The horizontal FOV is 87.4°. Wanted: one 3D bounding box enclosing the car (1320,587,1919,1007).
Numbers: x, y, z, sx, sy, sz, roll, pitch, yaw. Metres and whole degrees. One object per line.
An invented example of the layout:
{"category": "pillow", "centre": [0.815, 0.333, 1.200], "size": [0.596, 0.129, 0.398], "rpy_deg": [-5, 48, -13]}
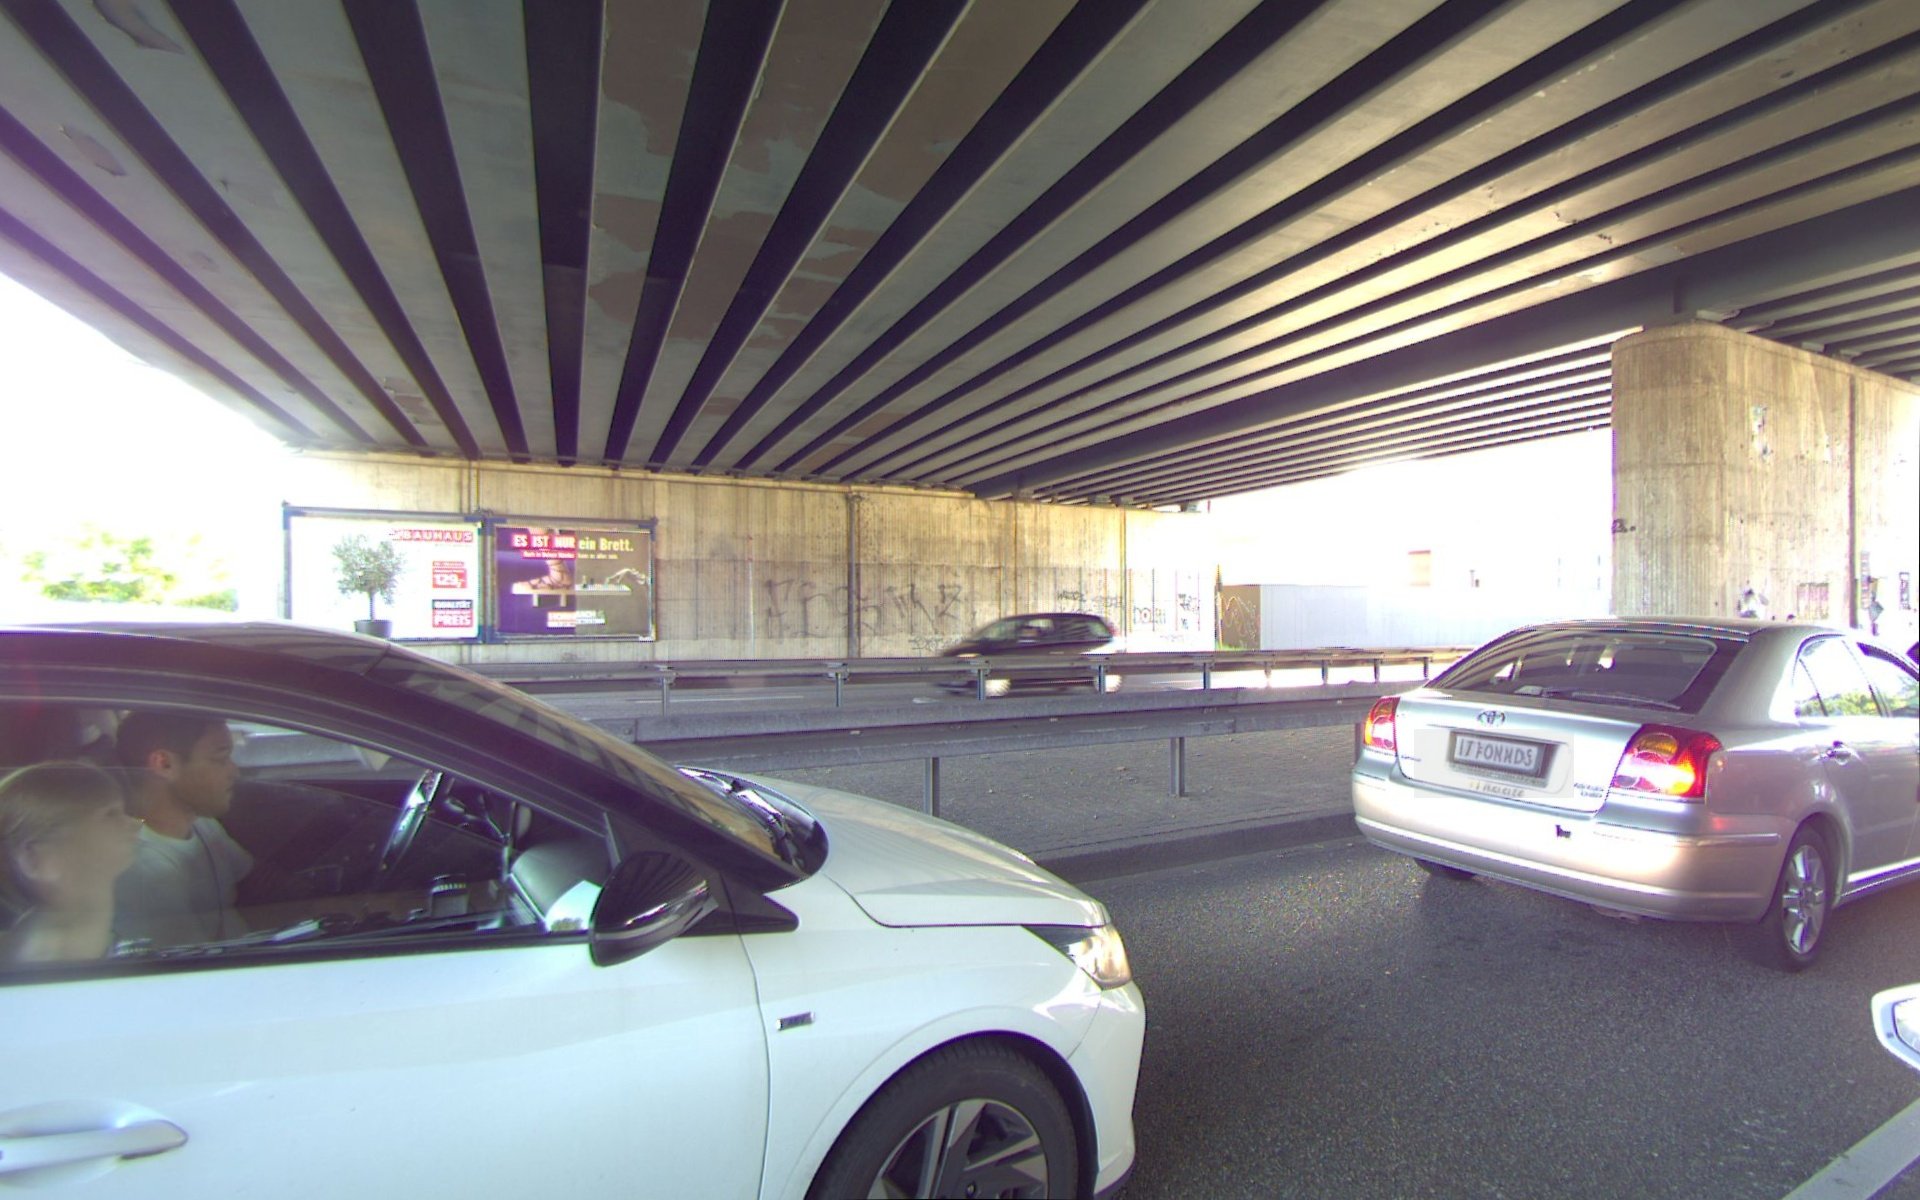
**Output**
{"category": "car", "centre": [4.079, 0.751, 5.463], "size": [4.270, 1.499, 1.724], "rpy_deg": [1, -1, -32]}

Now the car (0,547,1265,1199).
{"category": "car", "centre": [-1.413, 0.697, 1.969], "size": [3.947, 1.499, 1.723], "rpy_deg": [1, -1, -33]}

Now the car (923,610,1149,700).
{"category": "car", "centre": [1.513, 1.003, 19.689], "size": [4.130, 1.609, 1.817], "rpy_deg": [0, -1, -28]}

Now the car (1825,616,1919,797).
{"category": "car", "centre": [9.535, 0.882, 8.867], "size": [3.687, 1.457, 1.804], "rpy_deg": [0, 0, -31]}
